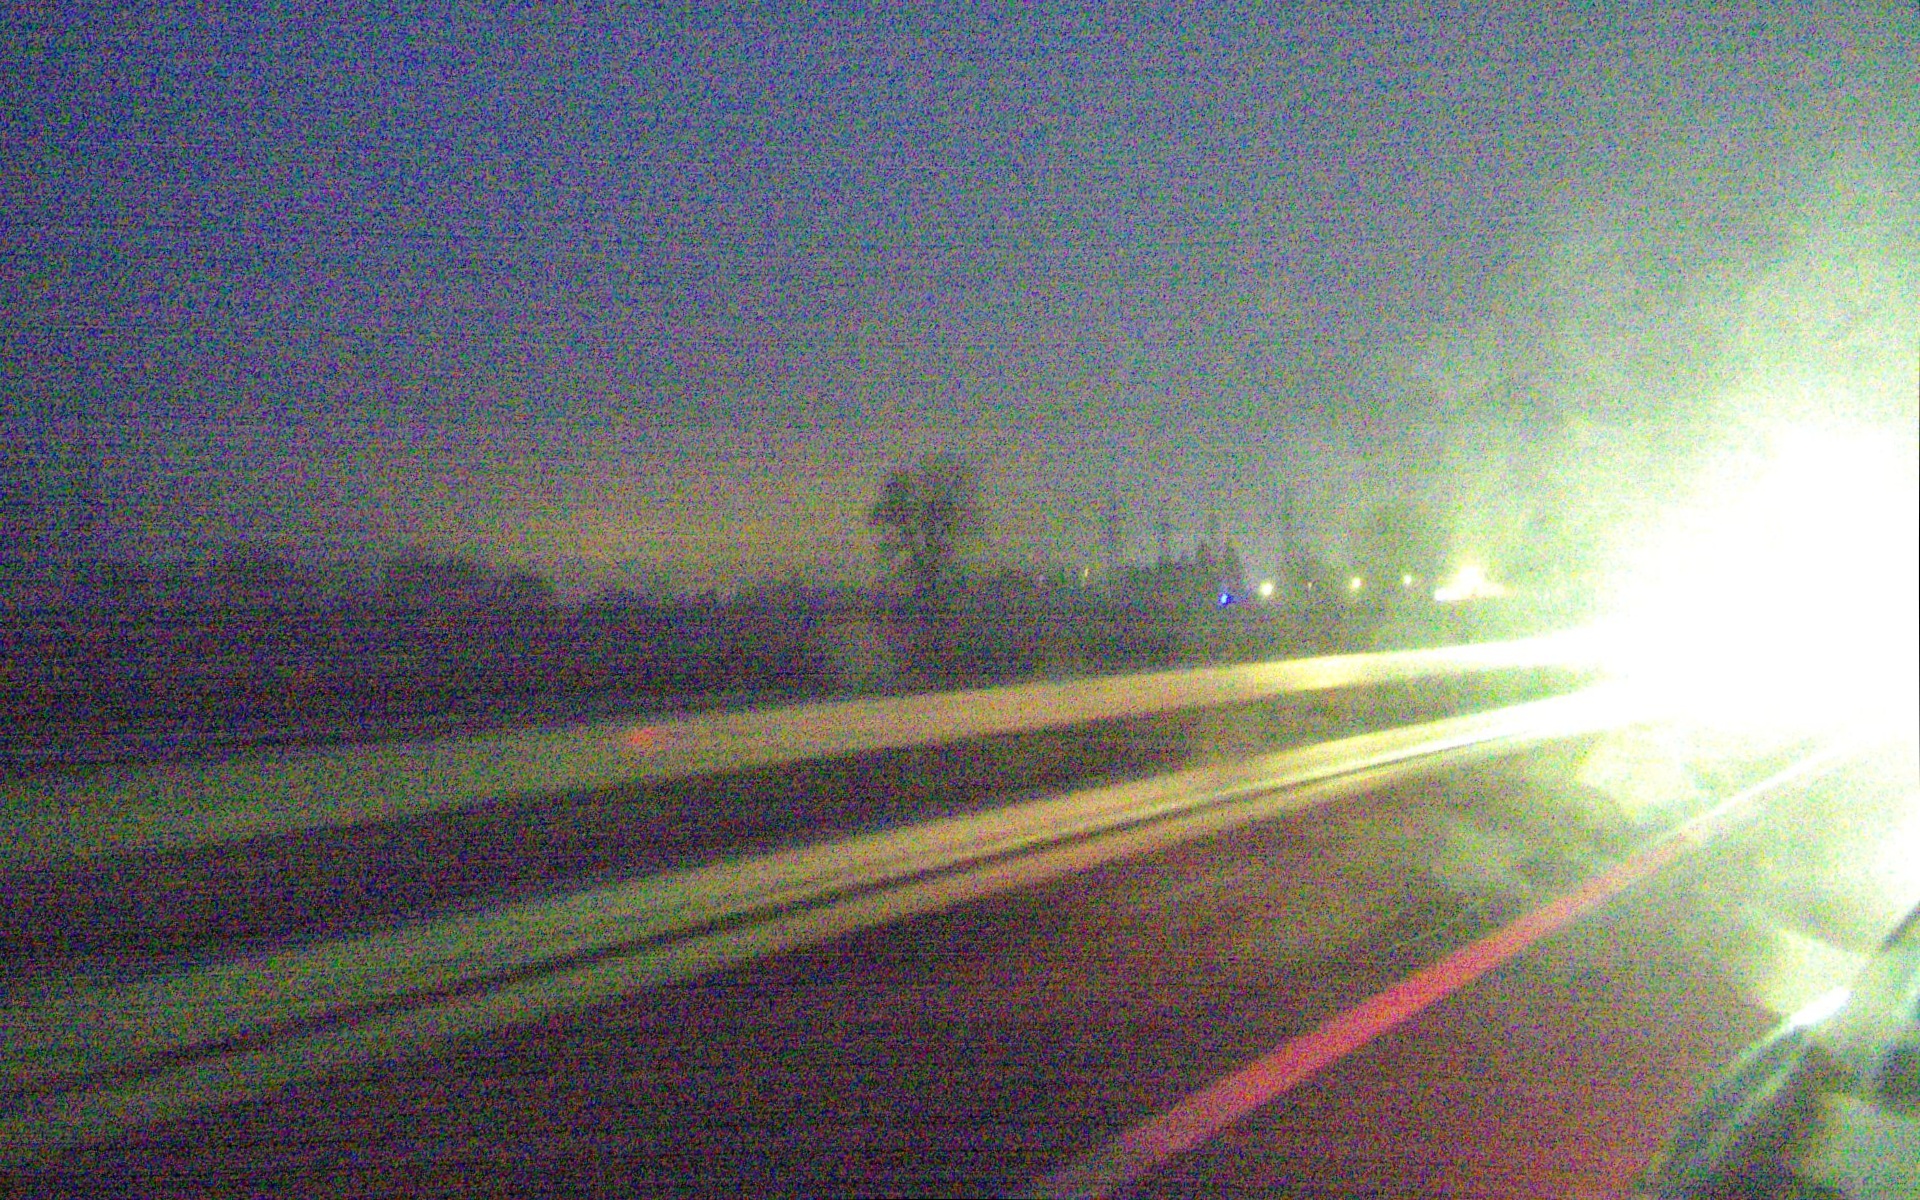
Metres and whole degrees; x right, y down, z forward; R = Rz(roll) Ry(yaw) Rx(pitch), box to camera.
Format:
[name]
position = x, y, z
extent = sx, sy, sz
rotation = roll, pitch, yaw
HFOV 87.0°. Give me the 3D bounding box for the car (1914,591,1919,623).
[car]
position = 52.634, 0.331, 53.572
extent = 1.981, 1.770, 4.060
rotation = -3, -1, 28
